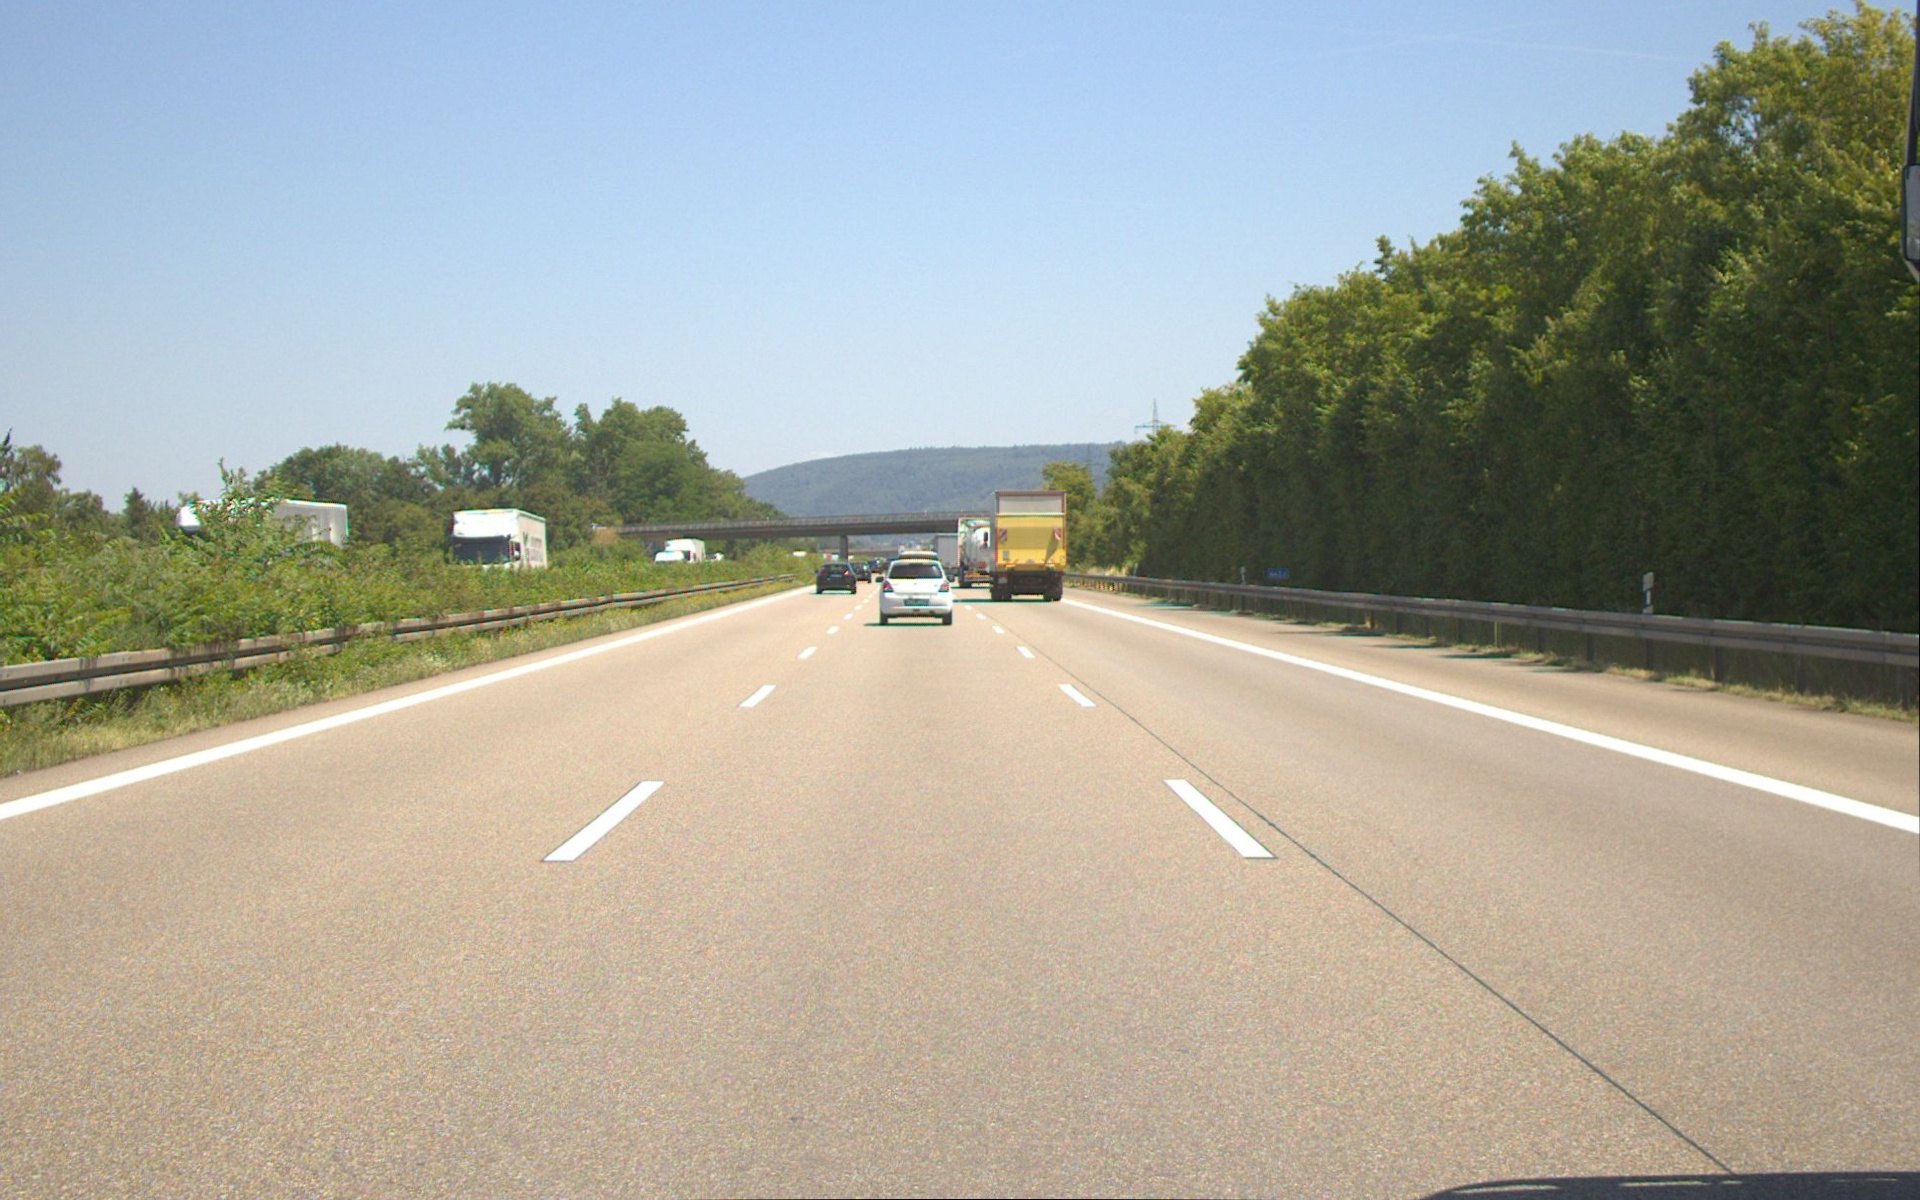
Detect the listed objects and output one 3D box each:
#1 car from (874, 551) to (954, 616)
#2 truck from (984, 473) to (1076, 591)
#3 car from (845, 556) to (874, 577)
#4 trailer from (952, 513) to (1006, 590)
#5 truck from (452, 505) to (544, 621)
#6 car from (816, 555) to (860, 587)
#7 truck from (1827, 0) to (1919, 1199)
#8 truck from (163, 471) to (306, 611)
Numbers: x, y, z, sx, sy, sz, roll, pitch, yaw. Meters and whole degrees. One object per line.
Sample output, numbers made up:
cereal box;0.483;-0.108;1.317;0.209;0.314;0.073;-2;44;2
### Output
car;-1.063;-0.398;80.244;1.806;1.463;4.000;1;1;-1
truck;2.546;-2.494;128.273;2.933;4.186;10.682;1;1;-1
car;-6.758;-2.265;230.760;1.835;1.382;4.000;1;1;-1
trailer;0.993;-2.642;188.675;2.580;4.060;11.104;1;1;-1
truck;-18.607;-1.495;138.765;2.821;4.511;6.539;1;1;-1
car;-5.493;-1.324;155.089;1.835;1.382;4.000;1;1;-1
truck;3.454;-0.569;5.361;2.470;4.048;6.320;1;1;-1
truck;-21.795;-1.766;103.636;2.951;4.049;6.539;1;1;-1
